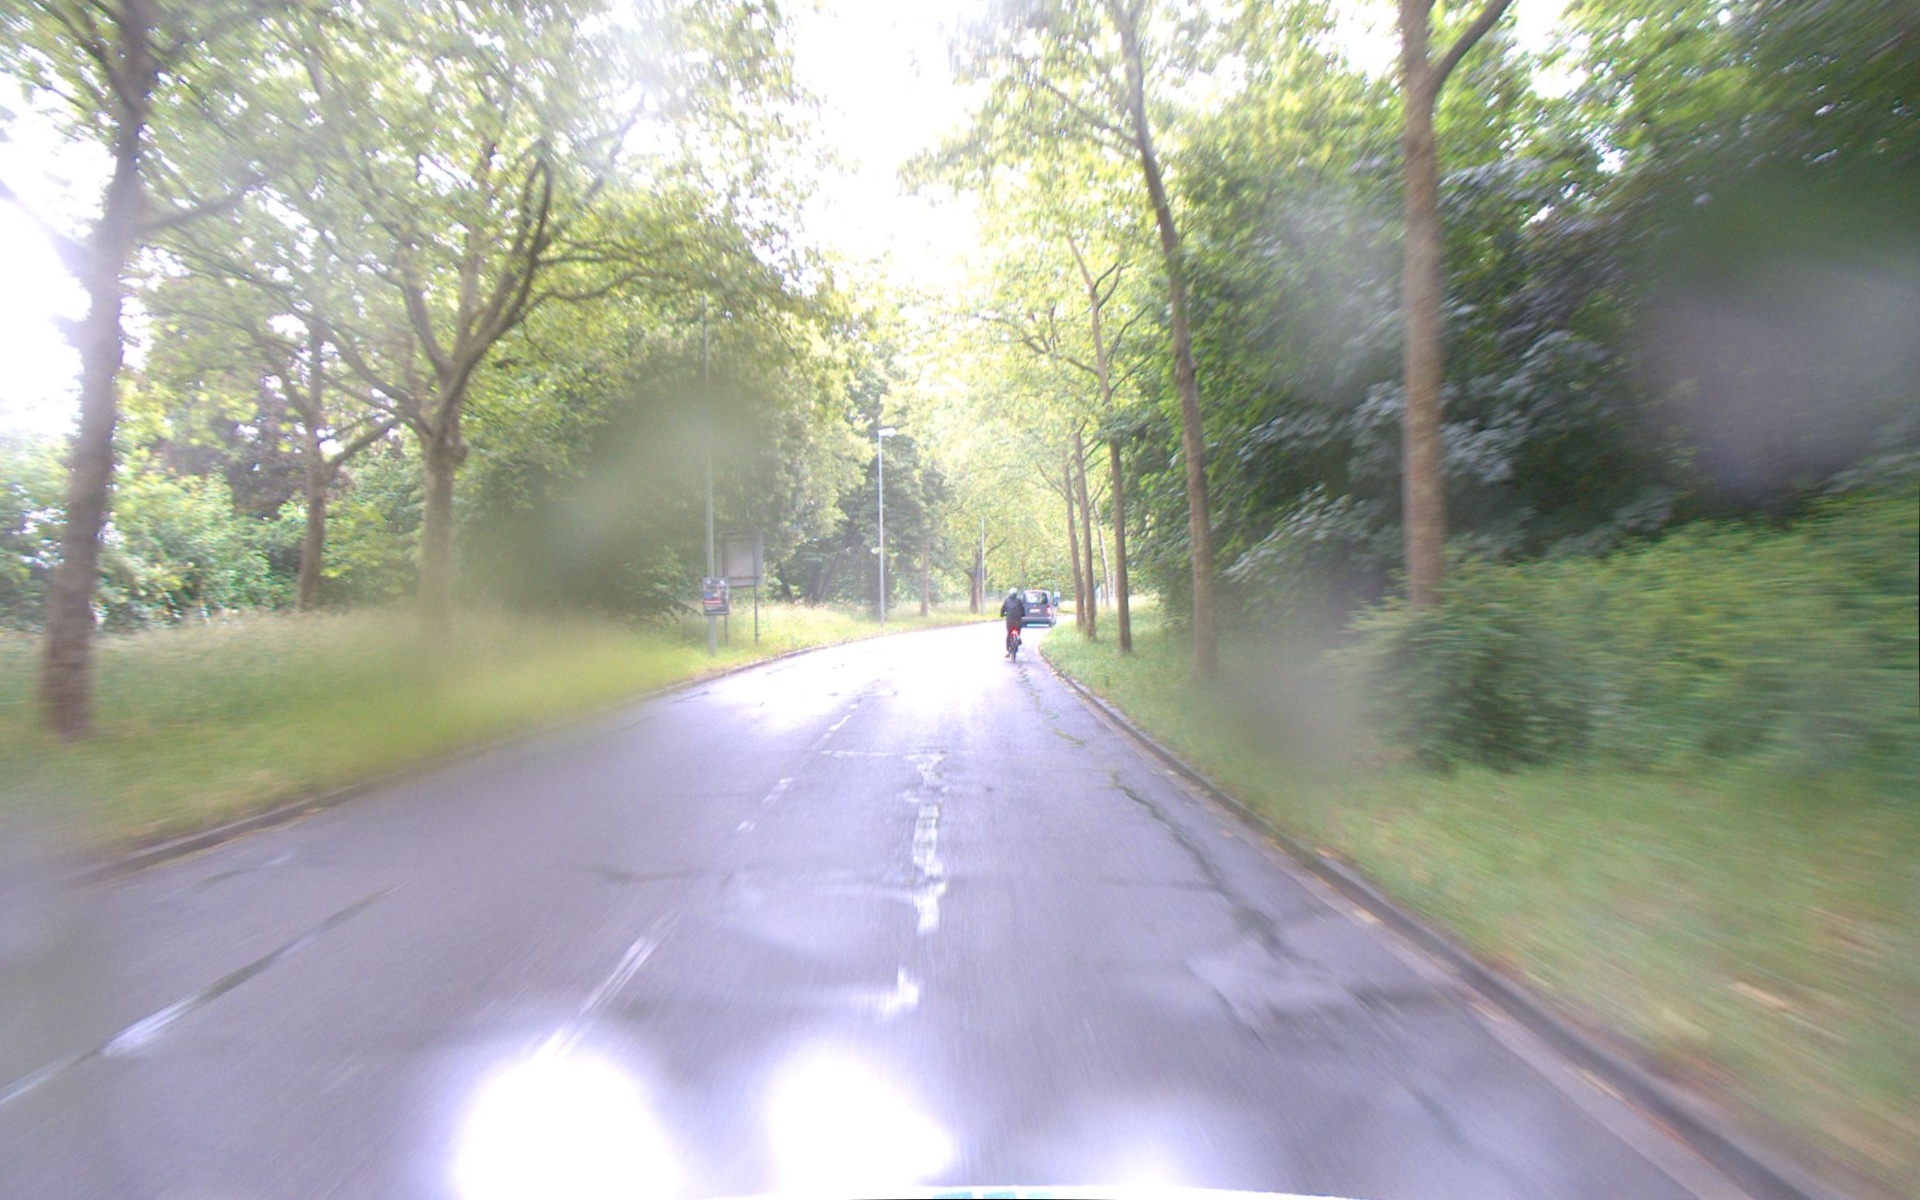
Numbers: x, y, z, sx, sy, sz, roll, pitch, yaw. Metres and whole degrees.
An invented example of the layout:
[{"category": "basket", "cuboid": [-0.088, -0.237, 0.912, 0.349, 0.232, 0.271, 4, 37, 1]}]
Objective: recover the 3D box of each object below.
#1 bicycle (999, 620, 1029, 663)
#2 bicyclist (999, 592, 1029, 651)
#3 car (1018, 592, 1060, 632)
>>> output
[{"category": "bicycle", "cuboid": [1.334, 0.995, 40.579, 0.714, 0.991, 2.174, 0, 0, 3]}, {"category": "bicyclist", "cuboid": [1.327, 0.517, 40.324, 0.714, 1.435, 0.973, 0, 0, 3]}, {"category": "car", "cuboid": [3.997, 0.577, 83.246, 1.943, 1.959, 4.002, -1, 0, 4]}]
